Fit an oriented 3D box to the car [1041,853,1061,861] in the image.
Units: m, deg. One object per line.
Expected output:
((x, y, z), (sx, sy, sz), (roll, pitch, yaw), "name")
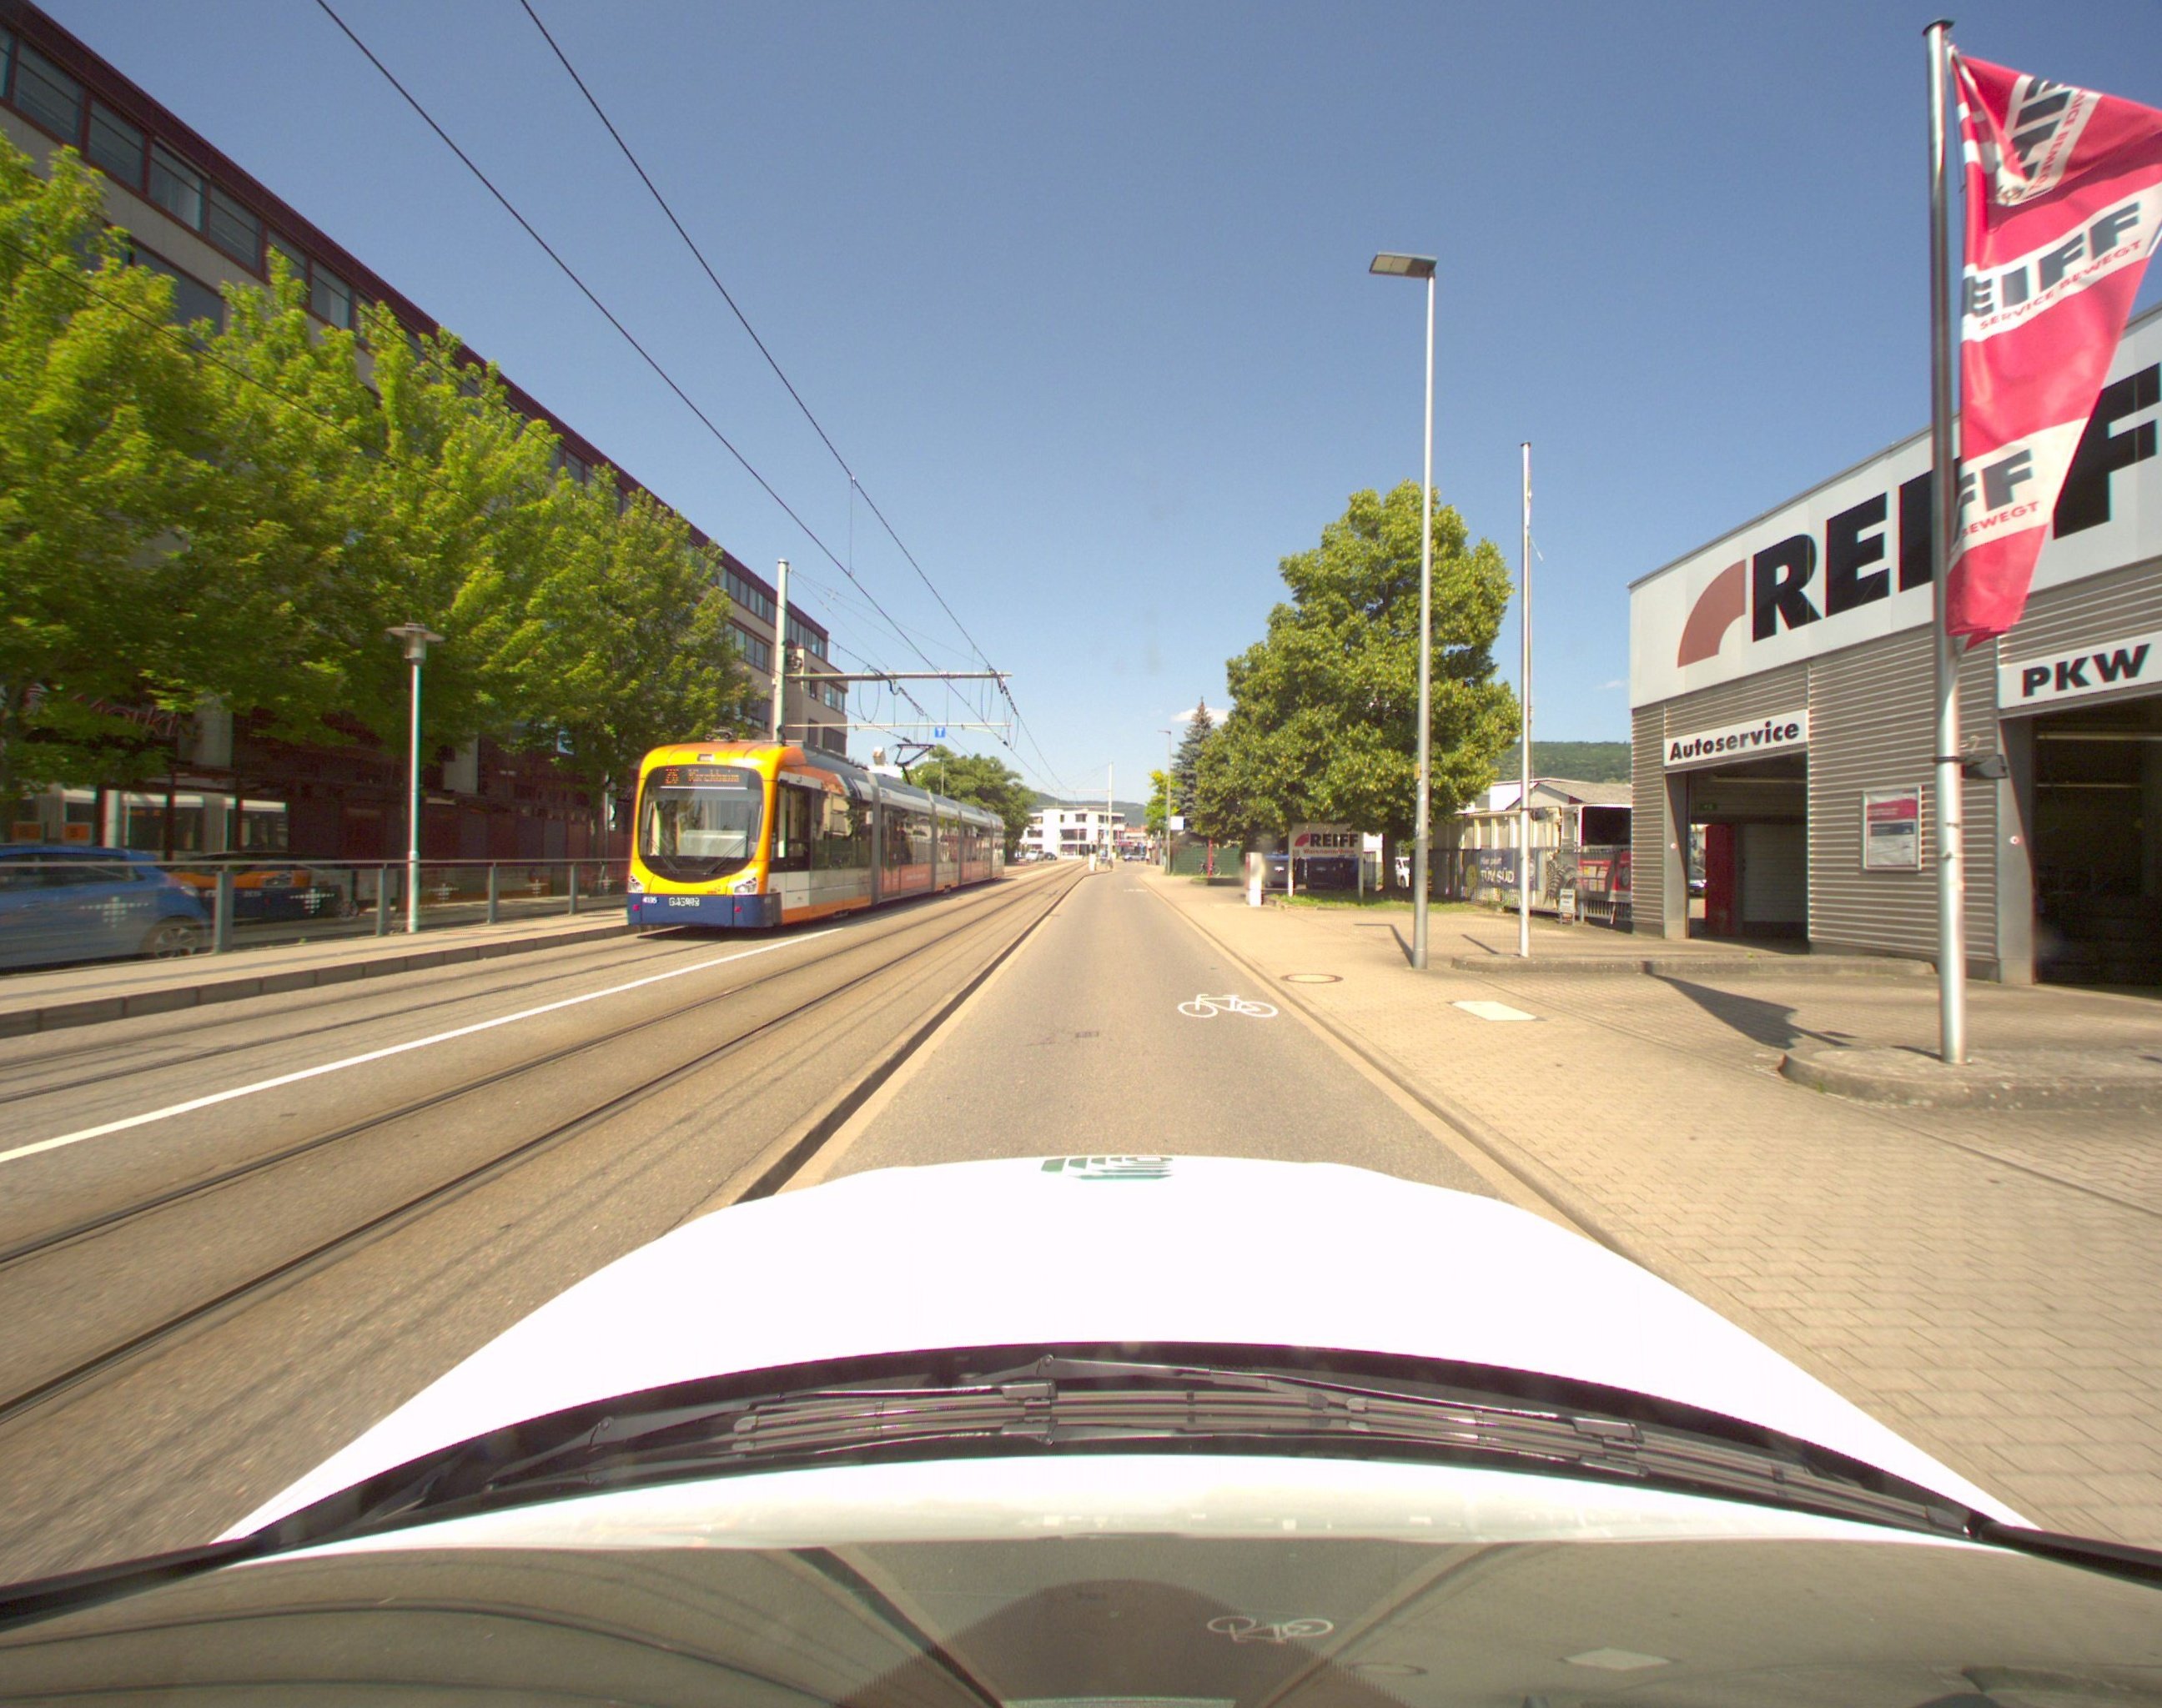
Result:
((-5.683, 0.522, 153.091), (3.494, 1.333, 1.688), (3, 2, 44), "car")

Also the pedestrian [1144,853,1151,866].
((8.921, 0.724, 109.505), (0.936, 1.787, 0.953), (1, 1, 1), "pedestrian")

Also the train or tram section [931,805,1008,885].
((-5.140, -0.393, 38.543), (2.571, 3.447, 6.365), (0, 0, 1), "train or tram section")

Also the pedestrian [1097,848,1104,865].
((2.118, 0.246, 86.698), (0.740, 1.740, 0.727), (0, 0, 1), "pedestrian")

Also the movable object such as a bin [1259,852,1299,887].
((8.218, 0.648, 33.795), (1.371, 1.430, 0.996), (0, -2, 27), "movable object such as a bin")

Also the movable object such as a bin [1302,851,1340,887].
((9.793, 0.613, 33.198), (1.304, 1.430, 0.890), (0, -2, 27), "movable object such as a bin")

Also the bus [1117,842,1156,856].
((11.145, -1.036, 163.345), (2.456, 2.880, 8.690), (1, 0, -40), "bus")

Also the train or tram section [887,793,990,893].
((-5.343, -0.382, 31.776), (2.570, 3.447, 7.139), (0, 0, 1), "train or tram section")

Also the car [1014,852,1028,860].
((-13.836, 0.459, 187.918), (1.936, 1.647, 3.732), (0, 0, -24), "car")

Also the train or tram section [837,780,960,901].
((-5.562, -0.388, 25.695), (2.601, 3.447, 5.012), (0, 0, 1), "train or tram section")

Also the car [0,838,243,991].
((-12.003, 0.649, 8.745), (1.717, 1.584, 4.072), (-2, 0, 1), "car")

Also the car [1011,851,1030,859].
((-12.674, 0.251, 170.481), (1.801, 1.552, 3.952), (0, 0, -41), "car")

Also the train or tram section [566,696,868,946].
((-5.925, -0.470, 14.434), (2.601, 3.533, 5.744), (0, 0, 1), "train or tram section")

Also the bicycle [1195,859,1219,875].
((7.940, 0.853, 51.534), (1.466, 0.990, 0.388), (0, -3, 1), "bicycle")

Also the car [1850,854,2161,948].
((14.943, 0.716, 13.059), (3.753, 1.376, 1.723), (1, 0, -3), "car")

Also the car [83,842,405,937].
((-15.365, 0.588, 15.330), (1.753, 1.519, 4.003), (1, 0, 3), "car")

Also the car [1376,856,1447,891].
((14.909, 0.845, 36.900), (1.736, 1.459, 4.002), (1, 0, 2), "car")

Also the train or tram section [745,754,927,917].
((-5.763, -0.386, 20.248), (2.601, 3.447, 5.845), (0, 0, 1), "train or tram section")

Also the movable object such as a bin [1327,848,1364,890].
((10.240, 0.586, 31.572), (0.975, 1.547, 1.320), (1, -2, -2), "movable object such as a bin")

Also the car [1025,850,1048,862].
((-7.579, 0.312, 138.409), (1.842, 1.937, 4.025), (3, 1, 34), "car")

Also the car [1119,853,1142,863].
((9.161, 0.738, 150.135), (3.985, 1.750, 1.771), (1, 0, -9), "car")
